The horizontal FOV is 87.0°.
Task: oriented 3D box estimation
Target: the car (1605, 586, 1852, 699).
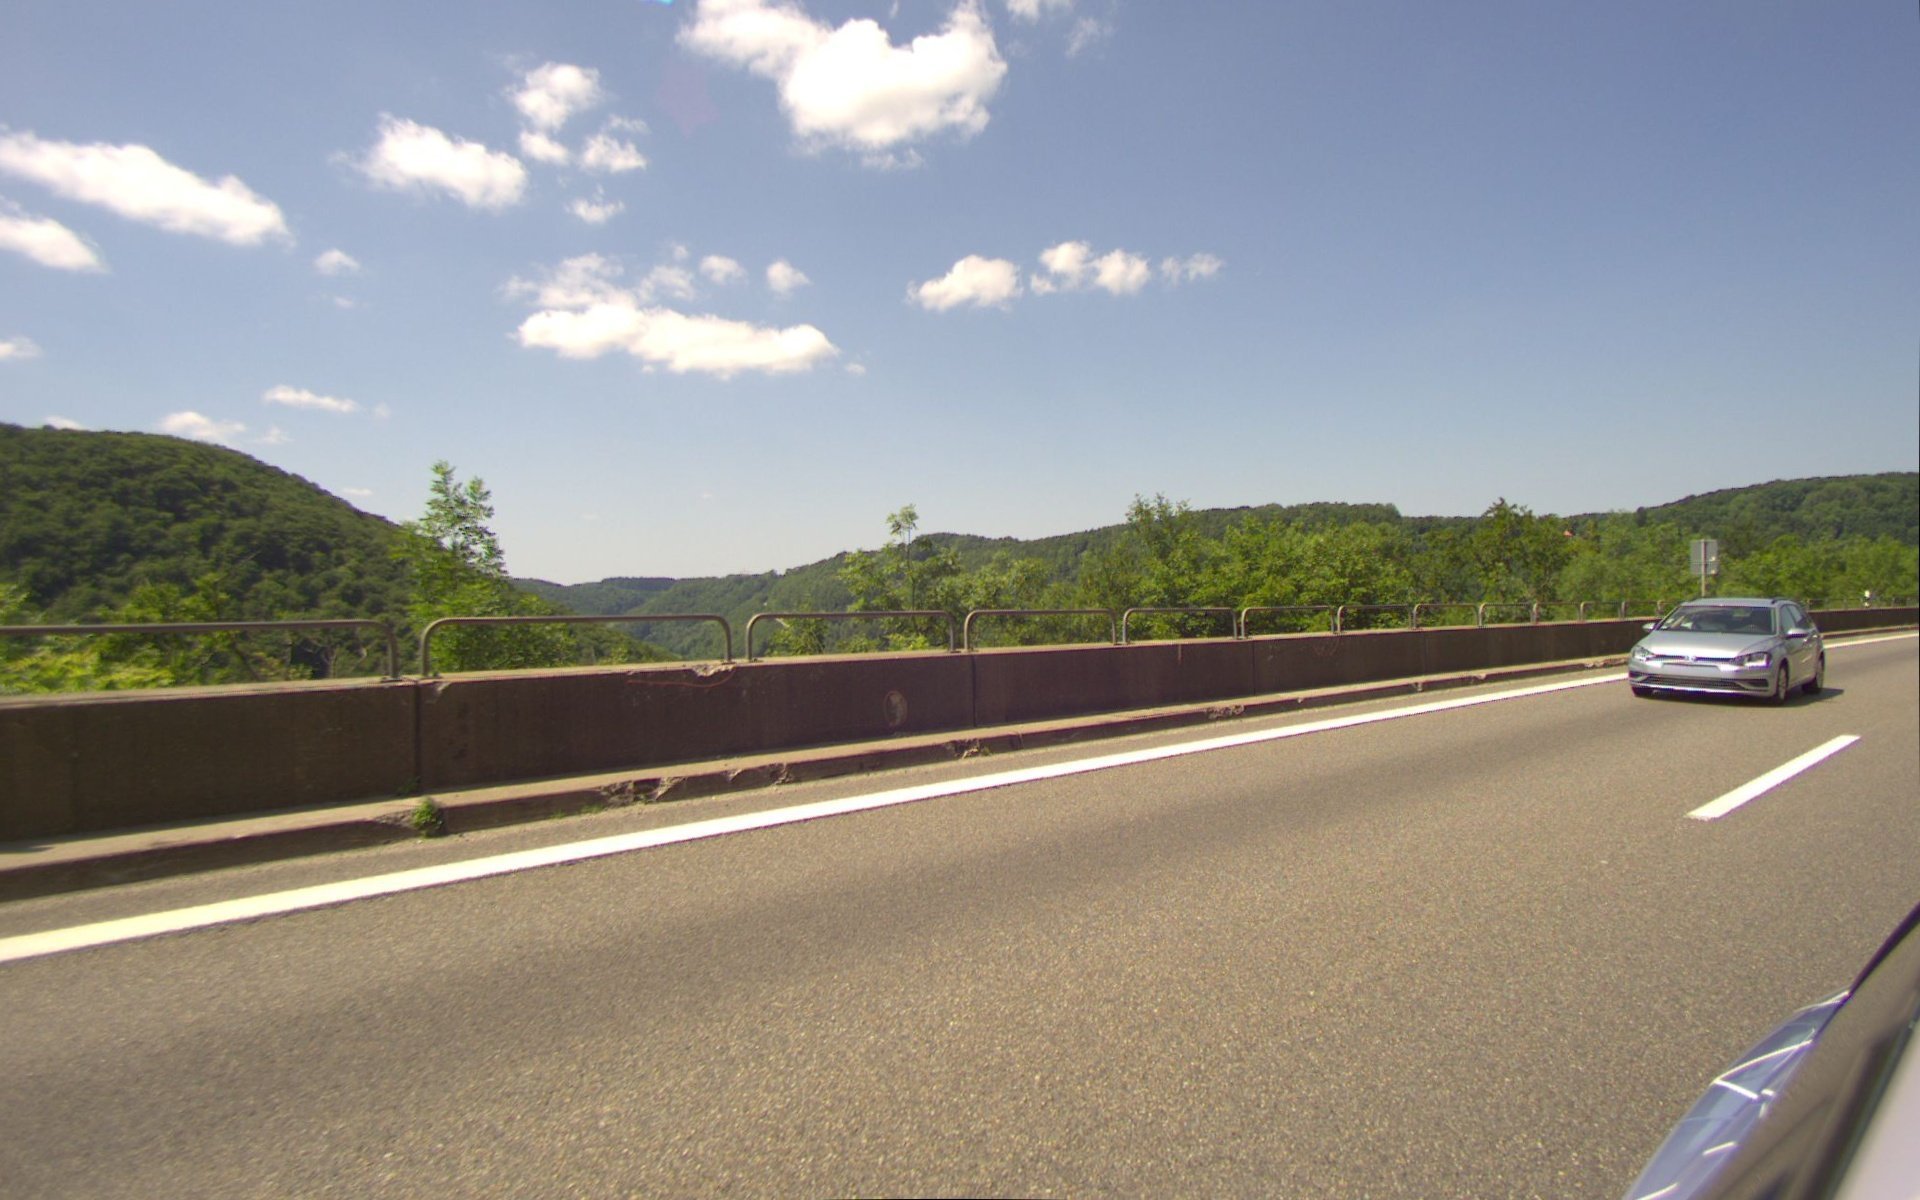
[{"bbox_3d":[11.605,0.520,15.199,4.216,1.394,1.973,-1,2,-39],"label":"car"}]
